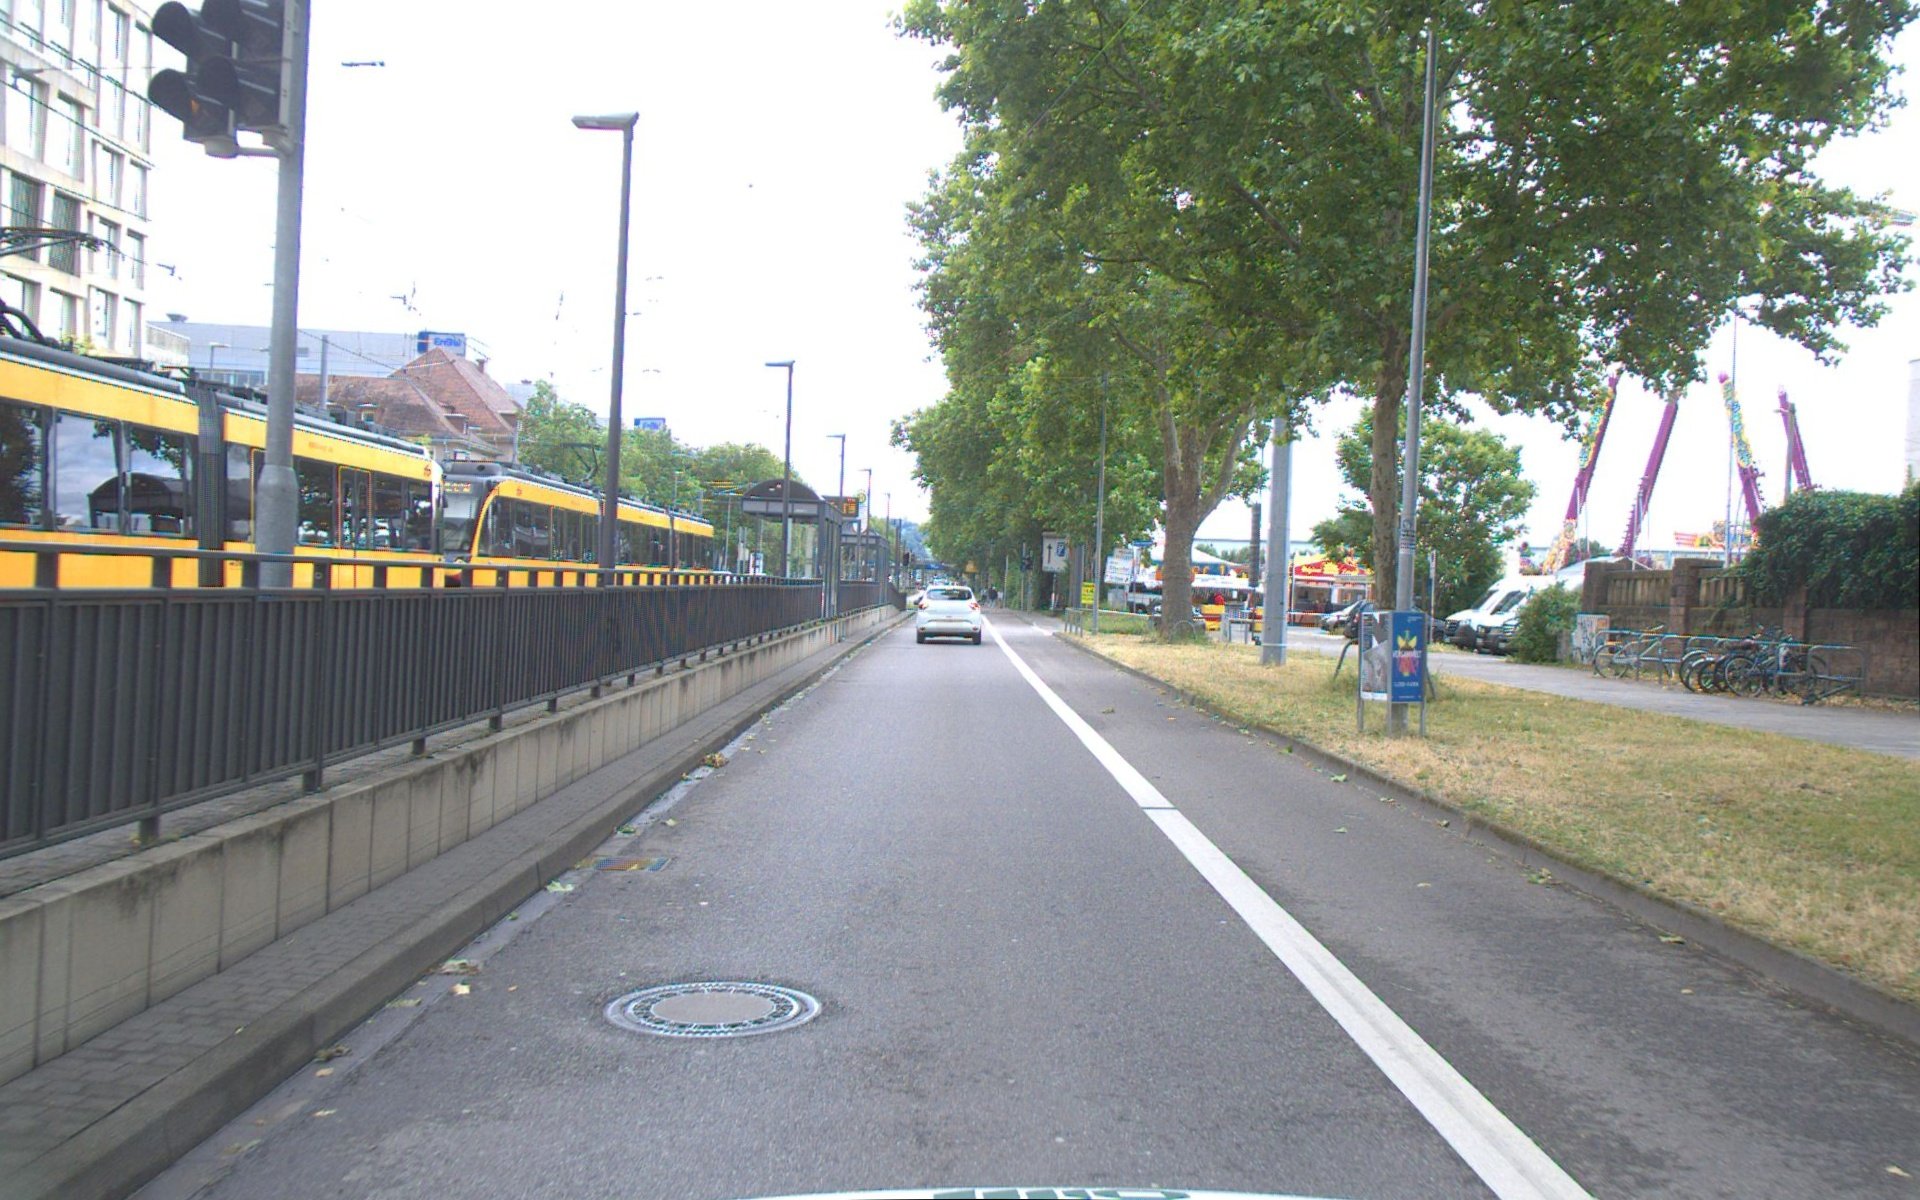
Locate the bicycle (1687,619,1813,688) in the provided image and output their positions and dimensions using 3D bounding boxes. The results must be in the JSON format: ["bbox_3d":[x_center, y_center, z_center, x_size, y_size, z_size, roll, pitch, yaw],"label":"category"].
[{"bbox_3d":[13.217,0.886,27.685,1.862,1.116,0.549,1,0,-3],"label":"bicycle"}]

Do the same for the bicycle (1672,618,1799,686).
[{"bbox_3d":[13.269,0.885,28.324,1.935,1.114,0.549,1,0,-3],"label":"bicycle"}]

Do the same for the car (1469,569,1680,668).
[{"bbox_3d":[19.066,0.560,51.482,5.669,2.579,2.039,4,0,-1],"label":"car"}]

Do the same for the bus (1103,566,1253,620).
[{"bbox_3d":[13.751,-0.452,104.533,9.093,3.011,1.999,2,0,-3],"label":"bus"}]

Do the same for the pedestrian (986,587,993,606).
[{"bbox_3d":[2.330,-0.300,129.943,0.387,1.470,0.564,2,0,13],"label":"pedestrian"}]

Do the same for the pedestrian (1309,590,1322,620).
[{"bbox_3d":[20.899,0.286,97.187,0.514,1.716,0.492,2,0,-17],"label":"pedestrian"}]

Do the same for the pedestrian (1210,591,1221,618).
[{"bbox_3d":[14.746,0.263,95.372,0.483,1.488,0.523,2,0,-3],"label":"pedestrian"}]

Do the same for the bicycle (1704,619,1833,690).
[{"bbox_3d":[13.243,0.882,27.106,1.852,1.124,0.549,1,0,-3],"label":"bicycle"}]

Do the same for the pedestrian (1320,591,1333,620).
[{"bbox_3d":[21.619,0.314,97.672,0.514,1.716,0.492,2,0,-17],"label":"pedestrian"}]

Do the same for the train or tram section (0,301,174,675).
[{"bbox_3d":[-11.676,-1.233,15.520,3.099,3.929,11.310,2,0,0],"label":"train or tram section"}]

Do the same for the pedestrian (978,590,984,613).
[{"bbox_3d":[1.935,0.141,150.203,0.387,2.049,0.403,2,0,15],"label":"pedestrian"}]

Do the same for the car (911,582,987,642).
[{"bbox_3d":[-0.341,0.299,44.708,1.848,1.478,3.998,2,0,-3],"label":"car"}]

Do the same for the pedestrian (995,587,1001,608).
[{"bbox_3d":[3.003,-0.209,130.020,0.387,1.613,0.538,2,0,9],"label":"pedestrian"}]

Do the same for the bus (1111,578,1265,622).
[{"bbox_3d":[13.984,0.004,101.498,9.093,2.266,1.999,2,0,-3],"label":"bus"}]

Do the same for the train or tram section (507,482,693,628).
[{"bbox_3d":[-11.973,-1.334,56.903,3.115,4.252,14.732,2,0,0],"label":"train or tram section"}]

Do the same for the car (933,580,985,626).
[{"bbox_3d":[-0.018,0.106,61.113,1.803,1.579,4.000,2,0,1],"label":"car"}]

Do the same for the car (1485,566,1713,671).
[{"bbox_3d":[18.595,0.505,48.333,5.667,2.565,2.171,4,1,1],"label":"car"}]

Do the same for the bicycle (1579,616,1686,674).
[{"bbox_3d":[13.110,0.874,32.263,1.883,1.110,0.549,1,0,-3],"label":"bicycle"}]

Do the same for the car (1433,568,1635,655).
[{"bbox_3d":[18.982,0.380,54.877,5.902,2.600,2.099,2,0,-2],"label":"car"}]

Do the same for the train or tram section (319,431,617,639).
[{"bbox_3d":[-11.876,-1.356,42.182,3.115,4.252,14.732,2,0,0],"label":"train or tram section"}]

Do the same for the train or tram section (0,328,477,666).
[{"bbox_3d":[-11.796,-1.331,28.047,3.115,4.252,13.619,2,0,0],"label":"train or tram section"}]

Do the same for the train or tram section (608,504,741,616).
[{"bbox_3d":[-12.059,-1.546,71.600,3.115,4.252,14.732,2,0,0],"label":"train or tram section"}]

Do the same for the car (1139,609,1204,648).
[{"bbox_3d":[8.648,1.136,67.979,1.826,1.455,3.996,2,0,-5],"label":"car"}]
